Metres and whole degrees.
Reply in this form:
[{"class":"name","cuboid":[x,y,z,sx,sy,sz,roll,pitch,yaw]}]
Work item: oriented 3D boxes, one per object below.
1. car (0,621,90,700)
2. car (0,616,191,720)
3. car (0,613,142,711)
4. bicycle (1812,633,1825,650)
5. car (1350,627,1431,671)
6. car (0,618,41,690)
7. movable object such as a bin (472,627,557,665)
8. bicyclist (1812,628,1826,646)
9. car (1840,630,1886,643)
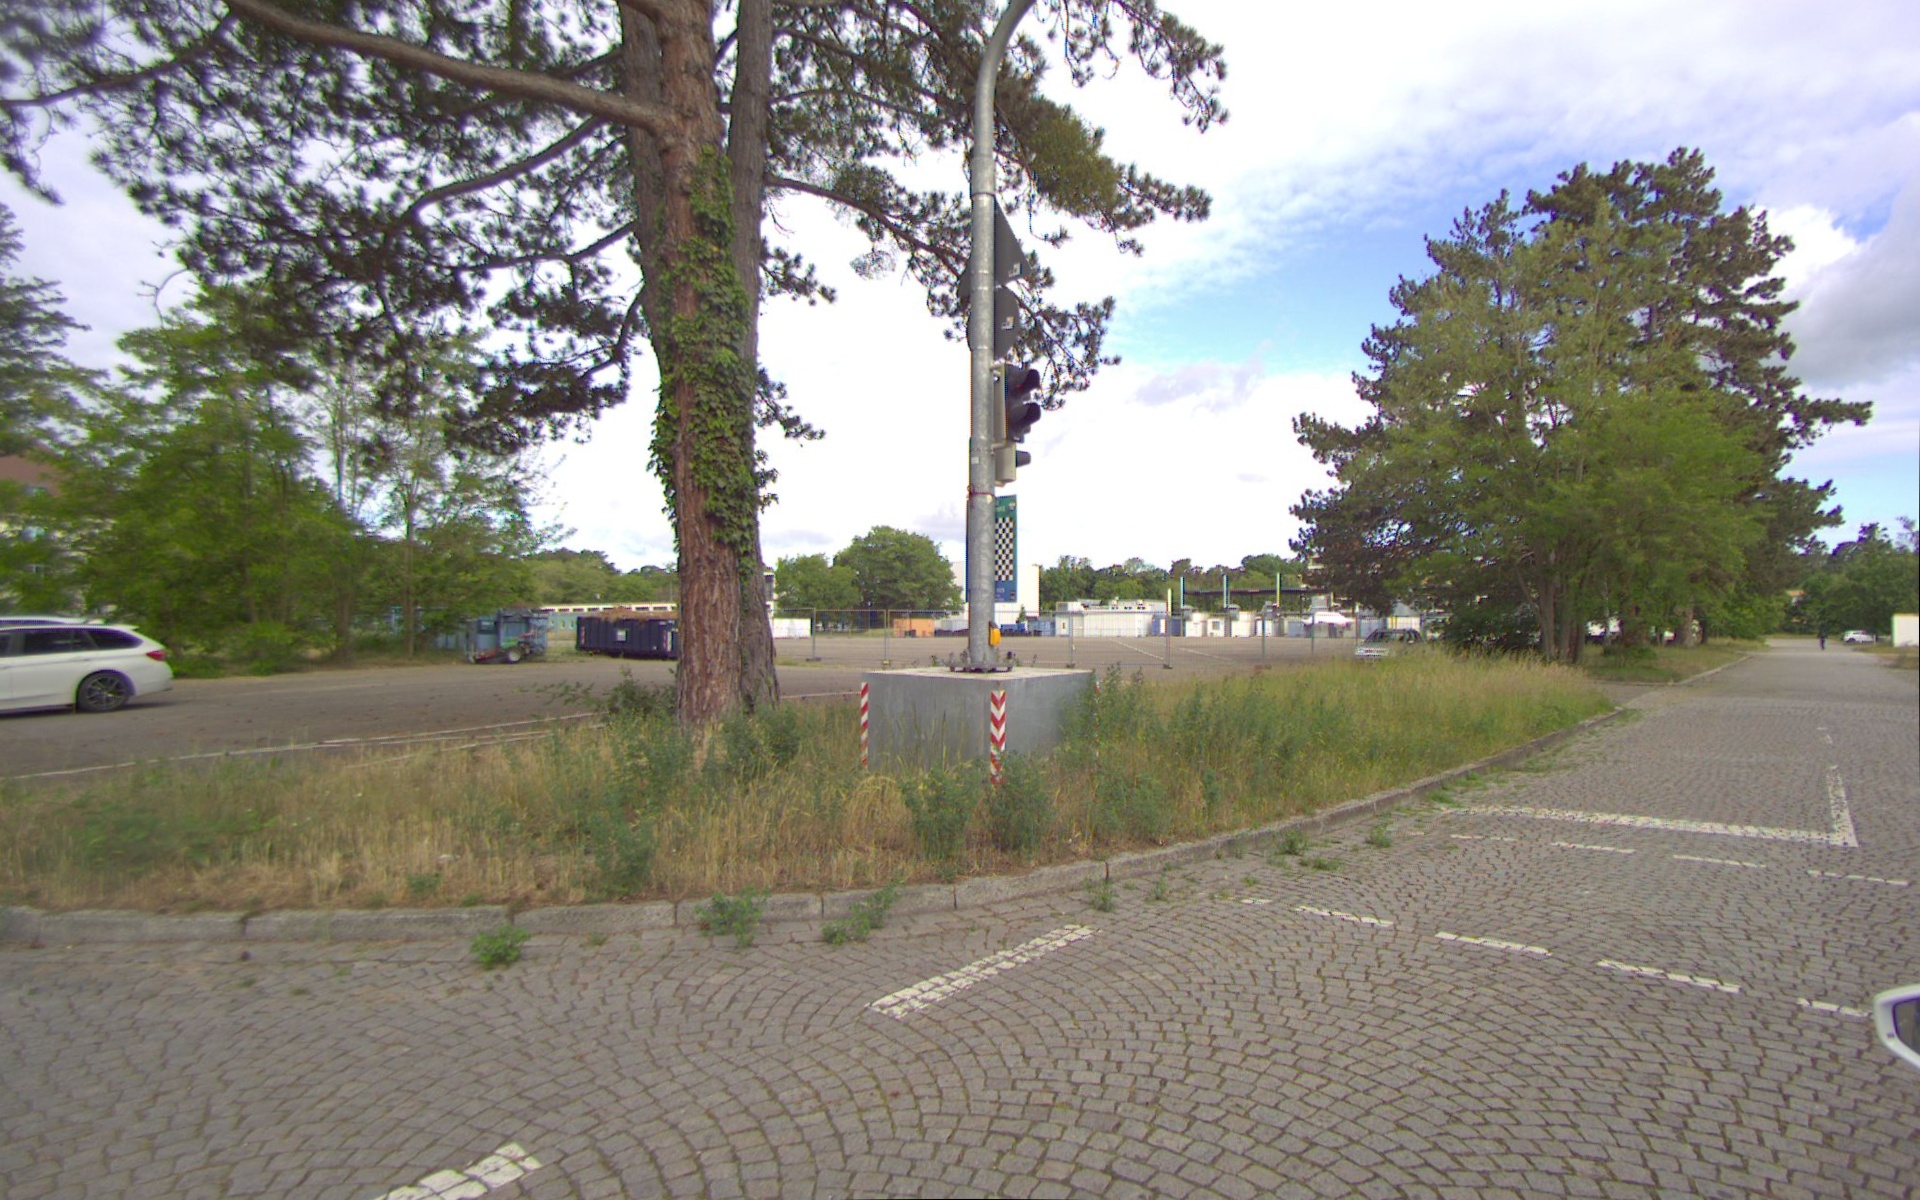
[{"class":"car","cuboid":[-19.338,1.203,18.752,1.696,1.443,4.429,-1,1,39]},{"class":"car","cuboid":[-15.205,1.083,15.713,1.838,1.508,4.734,-2,-1,38]},{"class":"car","cuboid":[-17.136,1.076,17.325,1.842,1.619,4.362,-1,0,35]},{"class":"bicycle","cuboid":[74.425,3.576,87.054,0.814,1.395,2.033,0,0,39]},{"class":"car","cuboid":[16.184,1.793,37.648,1.709,1.451,4.142,-1,0,39]},{"class":"car","cuboid":[-21.443,1.176,20.345,1.560,1.490,3.946,-1,1,38]},{"class":"movable object such as a bin","cuboid":[-13.807,1.426,31.173,0.845,1.140,2.259,0,-2,39]},{"class":"bicyclist","cuboid":[74.419,3.217,87.045,0.887,1.563,0.864,0,0,39]},{"class":"car","cuboid":[115.547,4.679,128.571,4.274,1.570,1.989,-1,-2,42]}]
